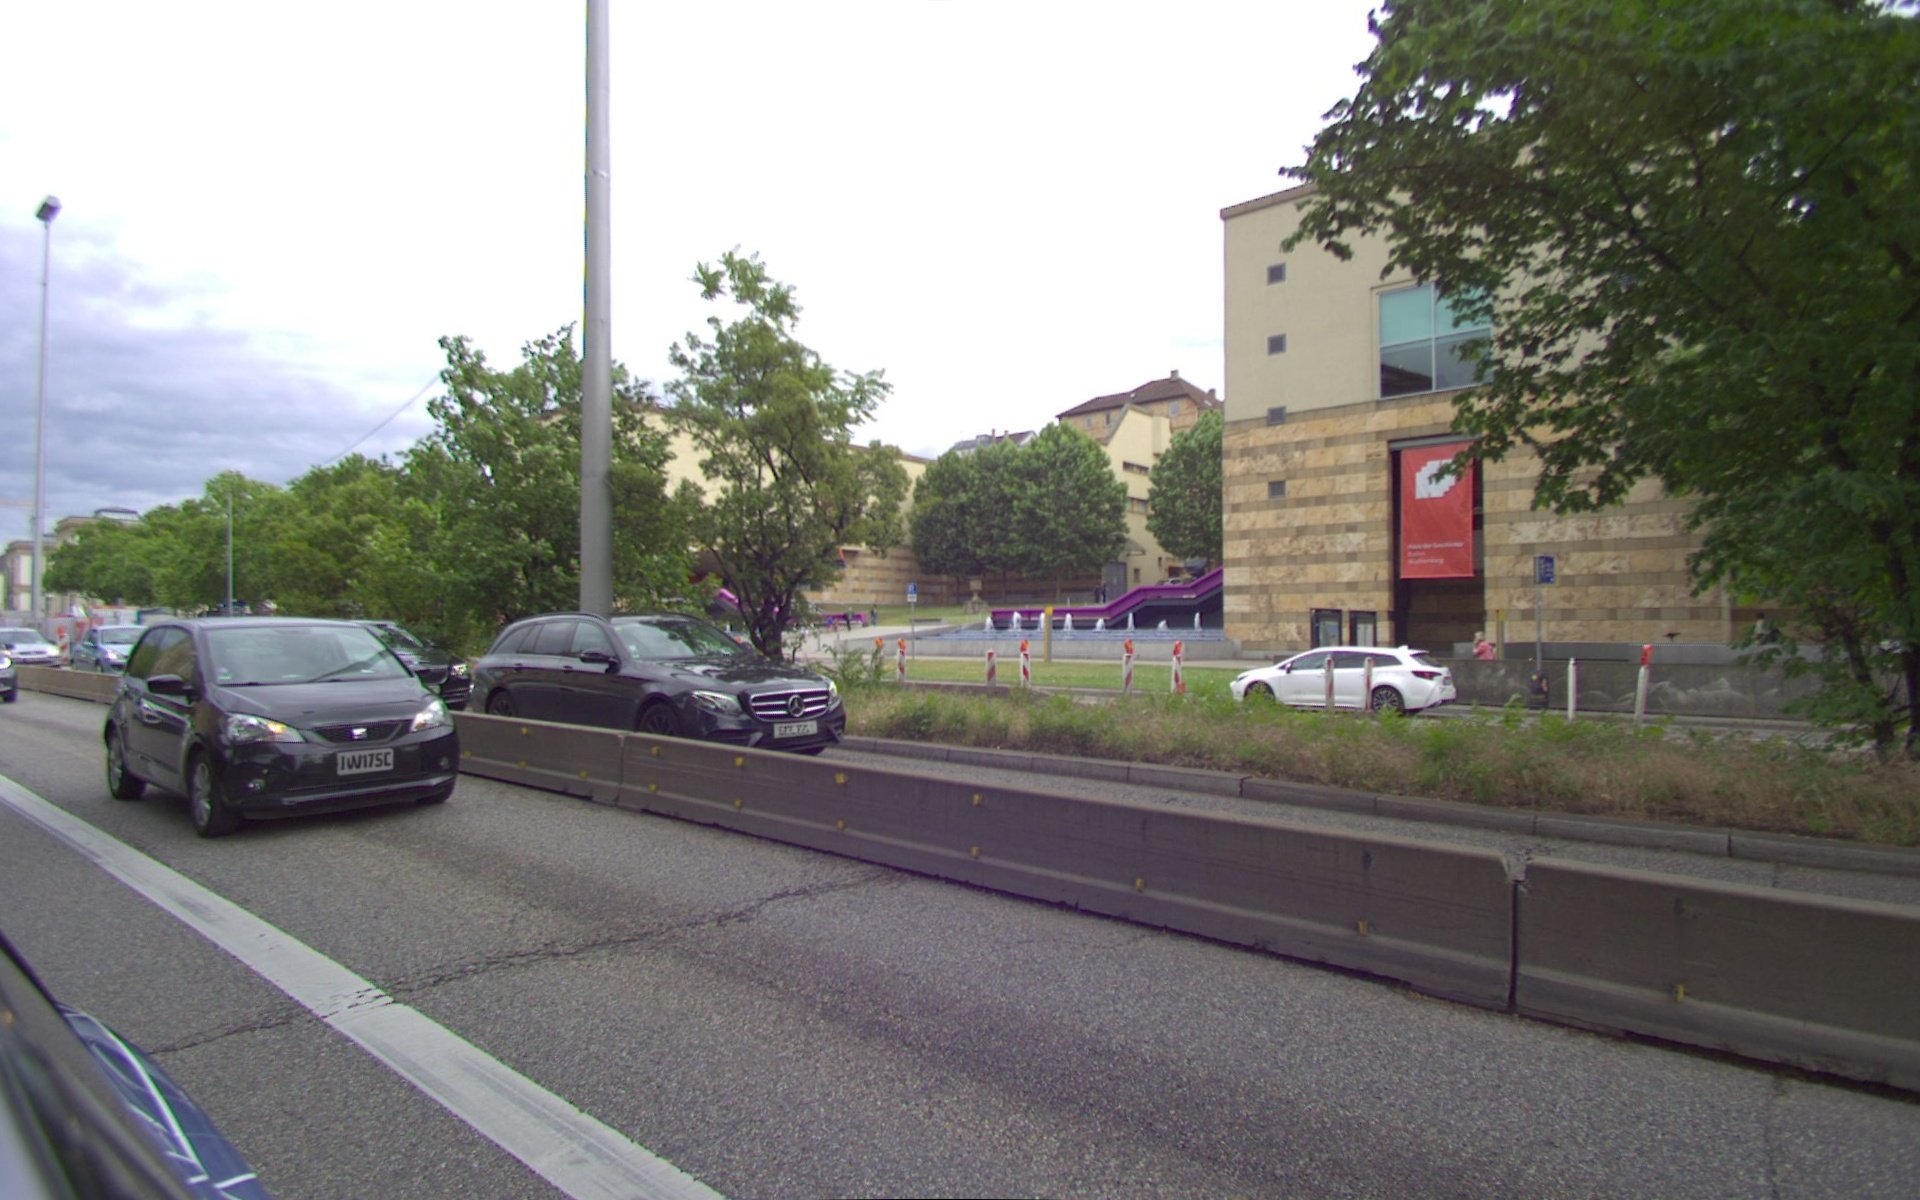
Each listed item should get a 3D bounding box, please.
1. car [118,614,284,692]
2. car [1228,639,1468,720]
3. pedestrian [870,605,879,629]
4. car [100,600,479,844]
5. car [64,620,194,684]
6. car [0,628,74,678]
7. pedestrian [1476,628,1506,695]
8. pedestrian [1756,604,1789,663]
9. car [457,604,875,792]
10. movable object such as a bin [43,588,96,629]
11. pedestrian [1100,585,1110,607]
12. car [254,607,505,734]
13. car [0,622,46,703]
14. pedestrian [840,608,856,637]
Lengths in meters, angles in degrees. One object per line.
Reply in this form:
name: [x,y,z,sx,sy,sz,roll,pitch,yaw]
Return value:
car: [-15.871,1.043,21.087,4.190,1.465,1.644,-1,-1,36]
car: [8.213,1.628,21.700,4.520,1.538,1.628,-2,-2,41]
pedestrian: [-5.894,1.183,69.764,0.405,1.623,0.343,-1,0,41]
car: [-5.396,0.792,7.984,3.620,1.484,1.591,-2,-2,41]
car: [-21.671,1.313,26.353,3.845,1.518,1.658,-1,-1,35]
car: [-30.870,1.685,32.825,4.687,1.492,1.865,-1,-1,31]
pedestrian: [12.409,1.430,23.653,0.526,1.543,0.556,-2,-2,36]
pedestrian: [21.996,0.895,27.412,0.620,1.581,0.434,-1,-2,33]
car: [-3.196,0.852,10.396,4.765,1.511,1.798,-2,-2,40]
movable object such as a bin: [-50.396,0.515,57.265,3.286,2.202,1.508,-2,-2,36]
pedestrian: [11.933,-0.316,83.349,0.477,1.762,0.639,-1,-1,39]
car: [-9.052,0.966,15.577,4.934,1.648,1.903,-1,-1,42]
car: [-19.828,1.217,20.225,3.994,1.516,1.669,-1,-1,38]
pedestrian: [-7.352,1.493,66.434,0.803,1.867,0.685,-1,0,41]
